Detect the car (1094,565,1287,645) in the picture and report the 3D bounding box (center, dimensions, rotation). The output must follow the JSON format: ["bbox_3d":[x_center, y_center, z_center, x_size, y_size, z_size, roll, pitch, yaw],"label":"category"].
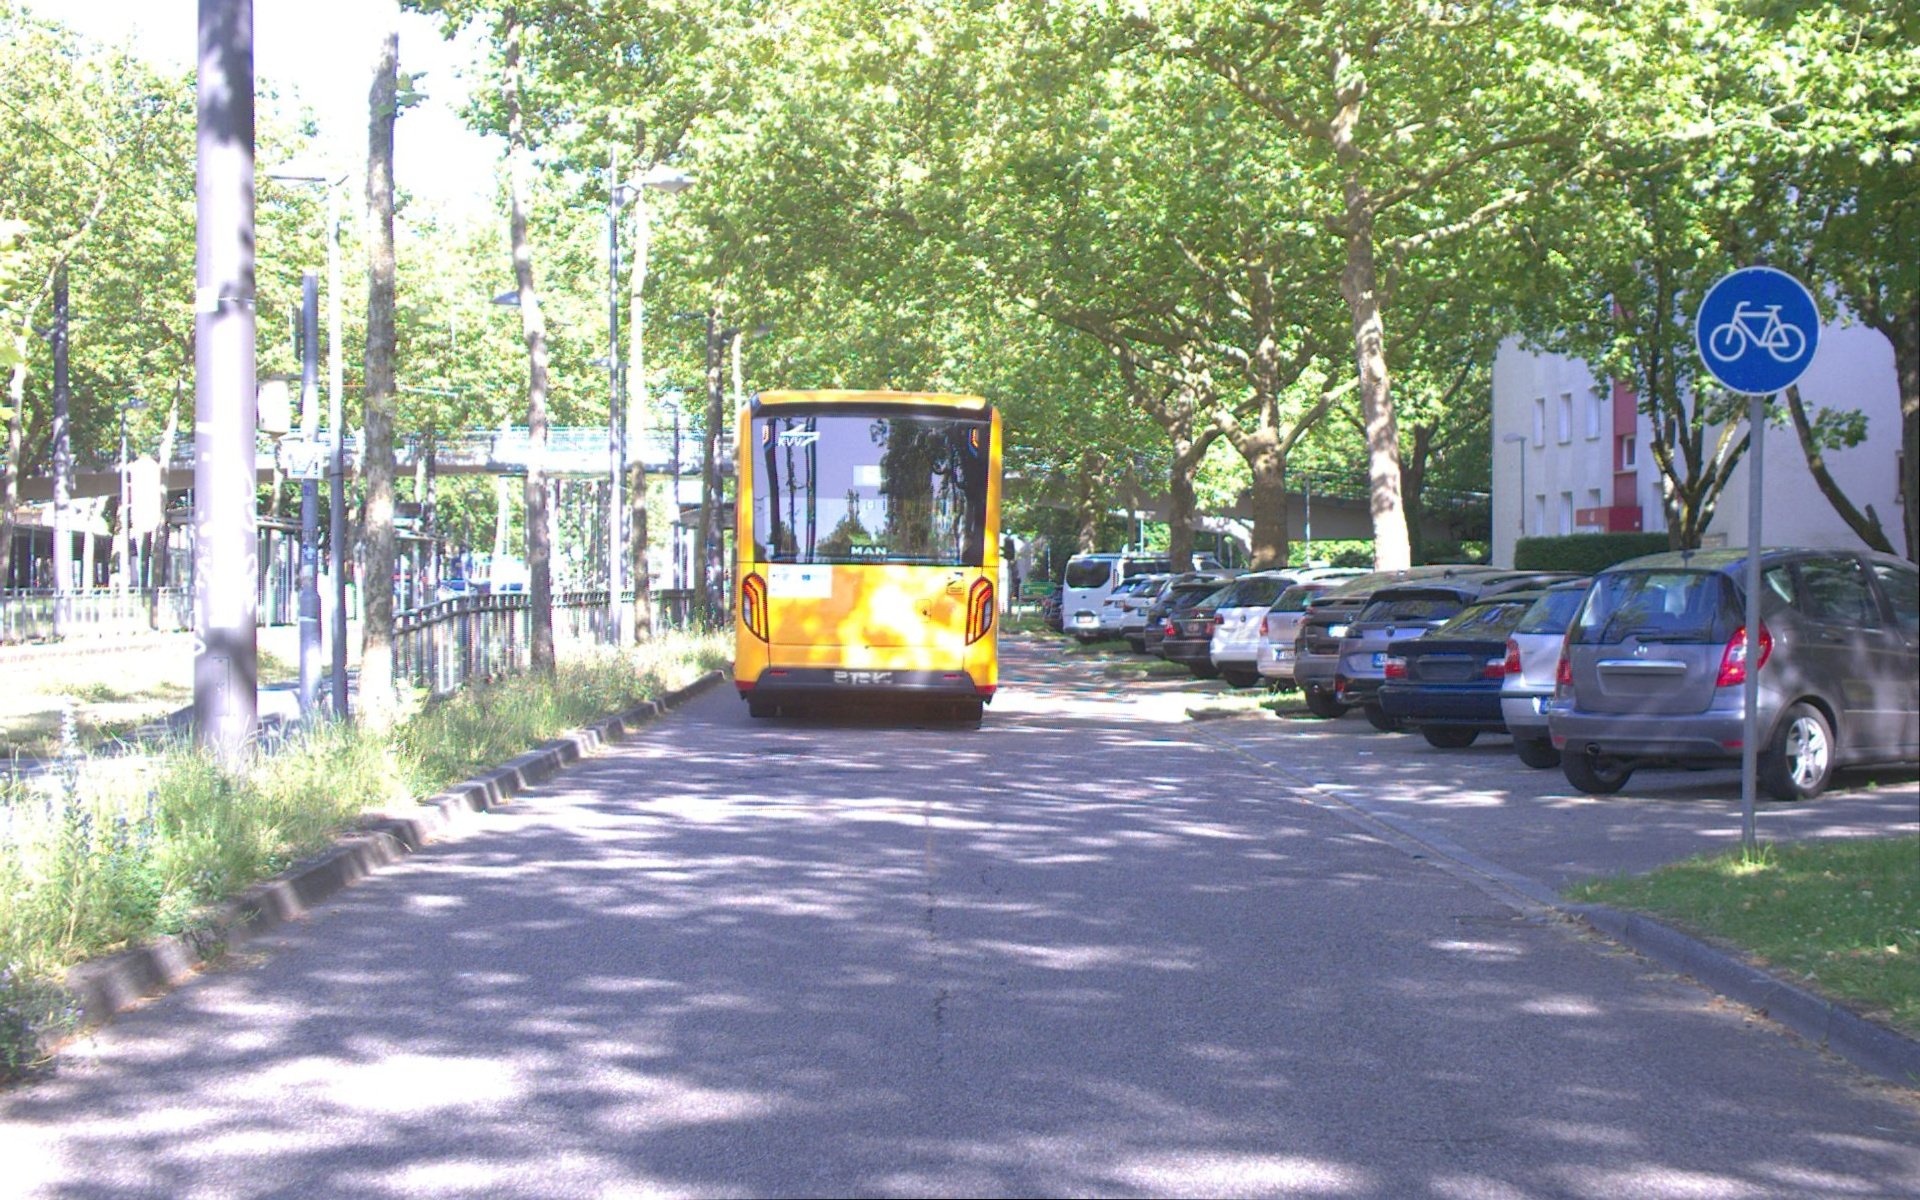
[{"bbox_3d":[4.965,0.100,73.751,4.047,1.575,1.832,-2,0,-44],"label":"car"}]

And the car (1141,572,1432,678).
[{"bbox_3d":[4.879,0.342,50.867,1.799,1.418,4.578,-1,1,44],"label":"car"}]

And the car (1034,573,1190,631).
[{"bbox_3d":[4.273,0.057,96.206,4.244,1.457,1.799,-2,0,-41],"label":"car"}]

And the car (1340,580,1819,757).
[{"bbox_3d":[5.315,0.537,29.220,4.135,1.313,1.799,-2,1,-41],"label":"car"}]

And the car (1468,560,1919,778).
[{"bbox_3d":[5.708,0.475,26.048,3.574,1.487,1.799,-2,1,-43],"label":"car"}]

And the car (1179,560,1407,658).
[{"bbox_3d":[5.951,0.156,61.160,3.989,1.584,1.799,-2,0,-43],"label":"car"}]

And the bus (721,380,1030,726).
[{"bbox_3d":[-1.001,-0.470,38.579,2.899,3.255,12.218,0,0,-2],"label":"bus"}]

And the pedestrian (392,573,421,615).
[{"bbox_3d":[-16.512,-0.180,102.618,0.778,1.233,0.722,0,0,-2],"label":"pedestrian"}]

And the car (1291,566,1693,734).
[{"bbox_3d":[5.112,0.437,32.751,3.878,1.441,1.799,-2,1,-45],"label":"car"}]

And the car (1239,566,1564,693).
[{"bbox_3d":[5.492,0.340,42.503,3.989,1.439,1.799,-2,1,-42],"label":"car"}]

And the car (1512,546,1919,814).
[{"bbox_3d":[5.544,0.456,22.638,3.716,1.587,1.799,-2,1,-42],"label":"car"}]

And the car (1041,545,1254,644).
[{"bbox_3d":[4.204,-0.129,76.740,4.577,2.045,2.017,-2,0,-41],"label":"car"}]

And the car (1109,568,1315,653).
[{"bbox_3d":[4.973,0.197,67.403,1.798,1.505,4.202,-2,0,42],"label":"car"}]

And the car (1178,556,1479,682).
[{"bbox_3d":[5.024,0.232,46.579,3.989,1.570,1.799,-2,1,-41],"label":"car"}]

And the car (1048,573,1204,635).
[{"bbox_3d":[4.365,0.106,89.994,3.989,1.463,1.781,-2,0,-44],"label":"car"}]

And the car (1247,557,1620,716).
[{"bbox_3d":[4.998,0.351,35.911,1.798,1.505,4.167,-1,1,42],"label":"car"}]

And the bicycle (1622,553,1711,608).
[{"bbox_3d":[15.619,-0.438,76.044,1.794,1.125,0.550,-3,1,-6],"label":"bicycle"}]

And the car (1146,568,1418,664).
[{"bbox_3d":[5.391,0.258,57.288,4.396,1.423,1.951,-2,0,-40],"label":"car"}]
